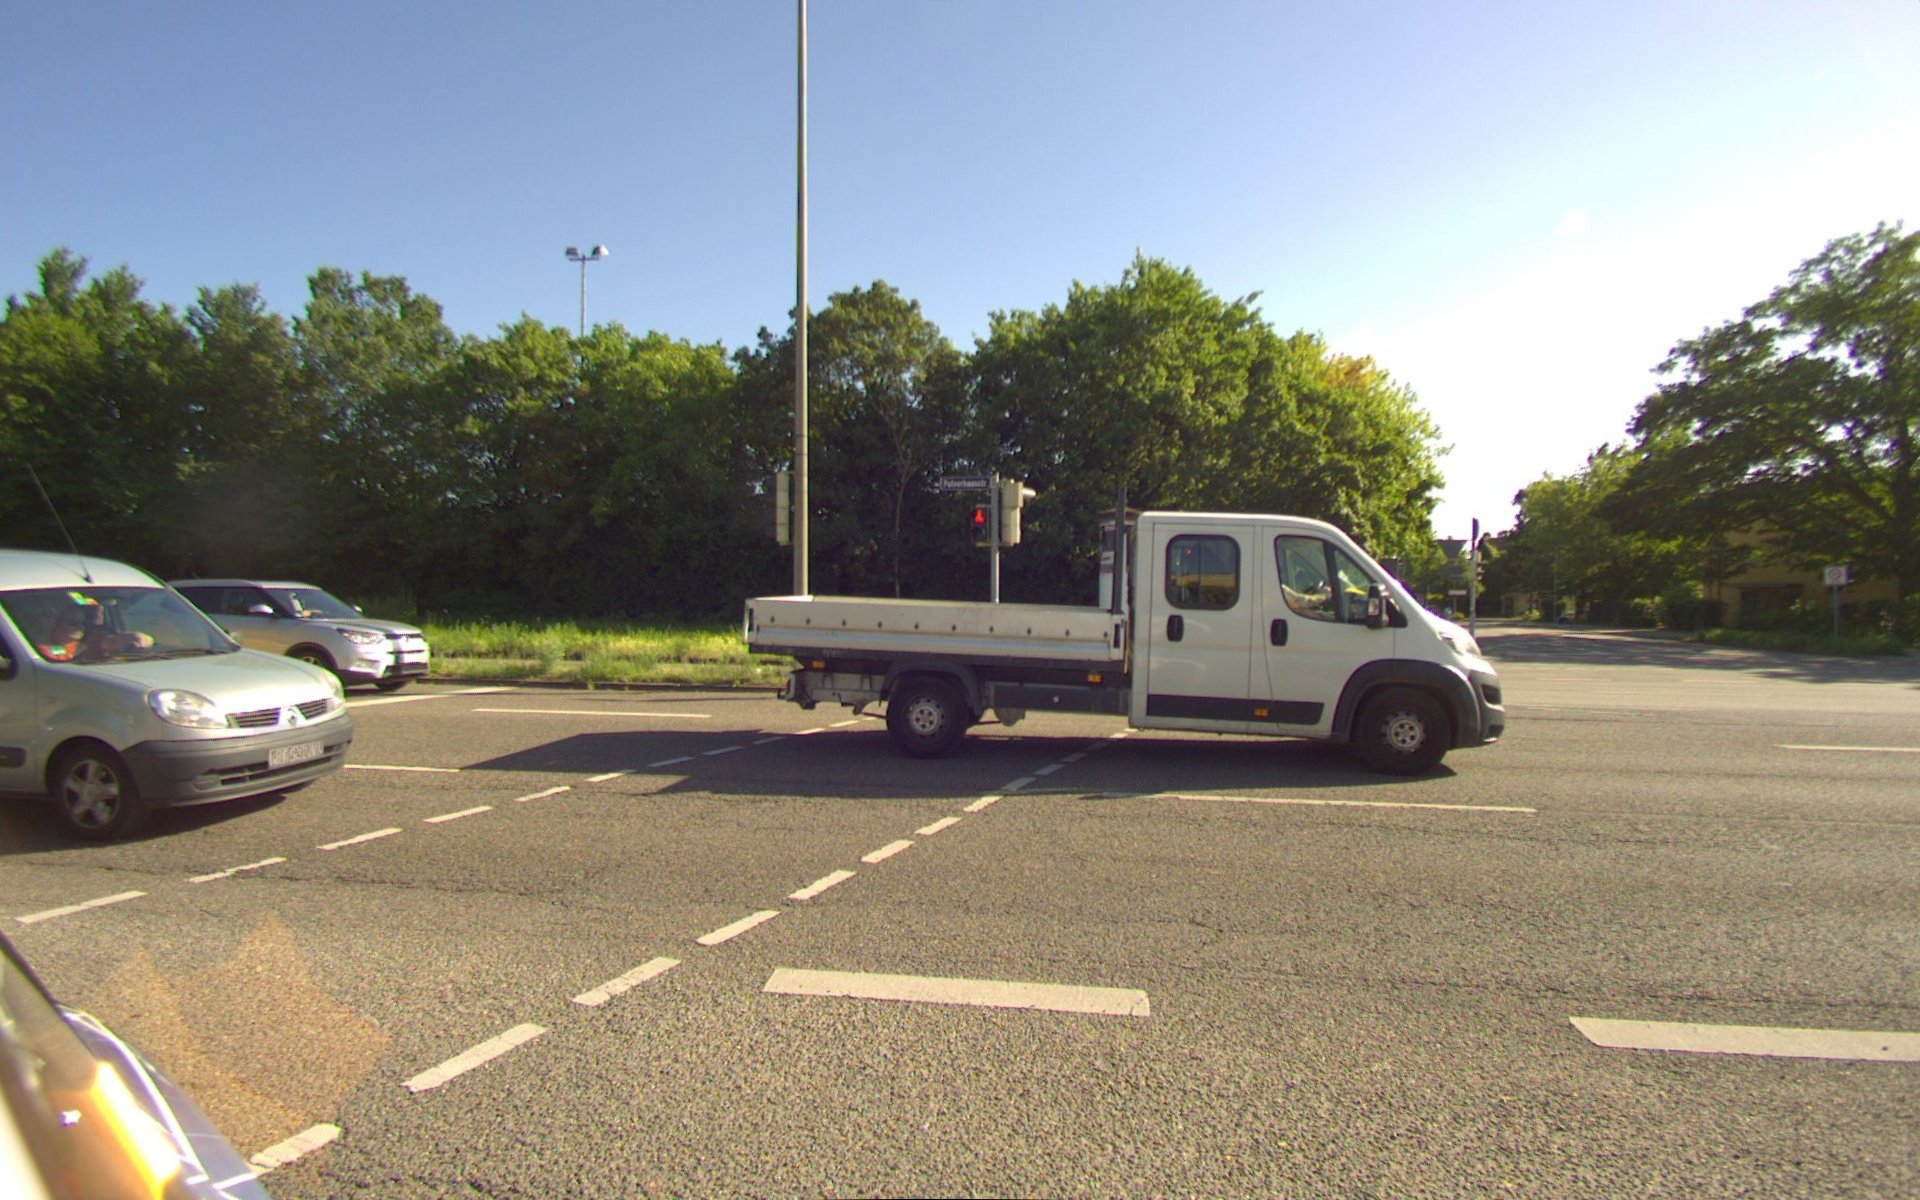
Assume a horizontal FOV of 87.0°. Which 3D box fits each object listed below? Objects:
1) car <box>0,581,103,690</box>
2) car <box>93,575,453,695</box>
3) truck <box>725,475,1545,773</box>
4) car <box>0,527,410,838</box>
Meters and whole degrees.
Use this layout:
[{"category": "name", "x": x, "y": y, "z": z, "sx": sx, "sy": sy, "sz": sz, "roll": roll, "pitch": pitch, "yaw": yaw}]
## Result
[{"category": "car", "x": -16.002, "y": 0.496, "z": 15.685, "sx": 4.195, "sy": 1.586, "sz": 1.875, "roll": 1, "pitch": 0, "yaw": 9}, {"category": "car", "x": -9.767, "y": 0.462, "z": 14.542, "sx": 4.147, "sy": 1.549, "sz": 1.832, "roll": 1, "pitch": -1, "yaw": 9}, {"category": "truck", "x": 1.398, "y": 0.161, "z": 9.493, "sx": 6.696, "sy": 2.327, "sz": 2.186, "roll": 1, "pitch": 0, "yaw": 8}, {"category": "car", "x": -6.387, "y": 0.406, "z": 6.994, "sx": 4.317, "sy": 1.741, "sz": 1.915, "roll": 1, "pitch": 2, "yaw": 11}]
